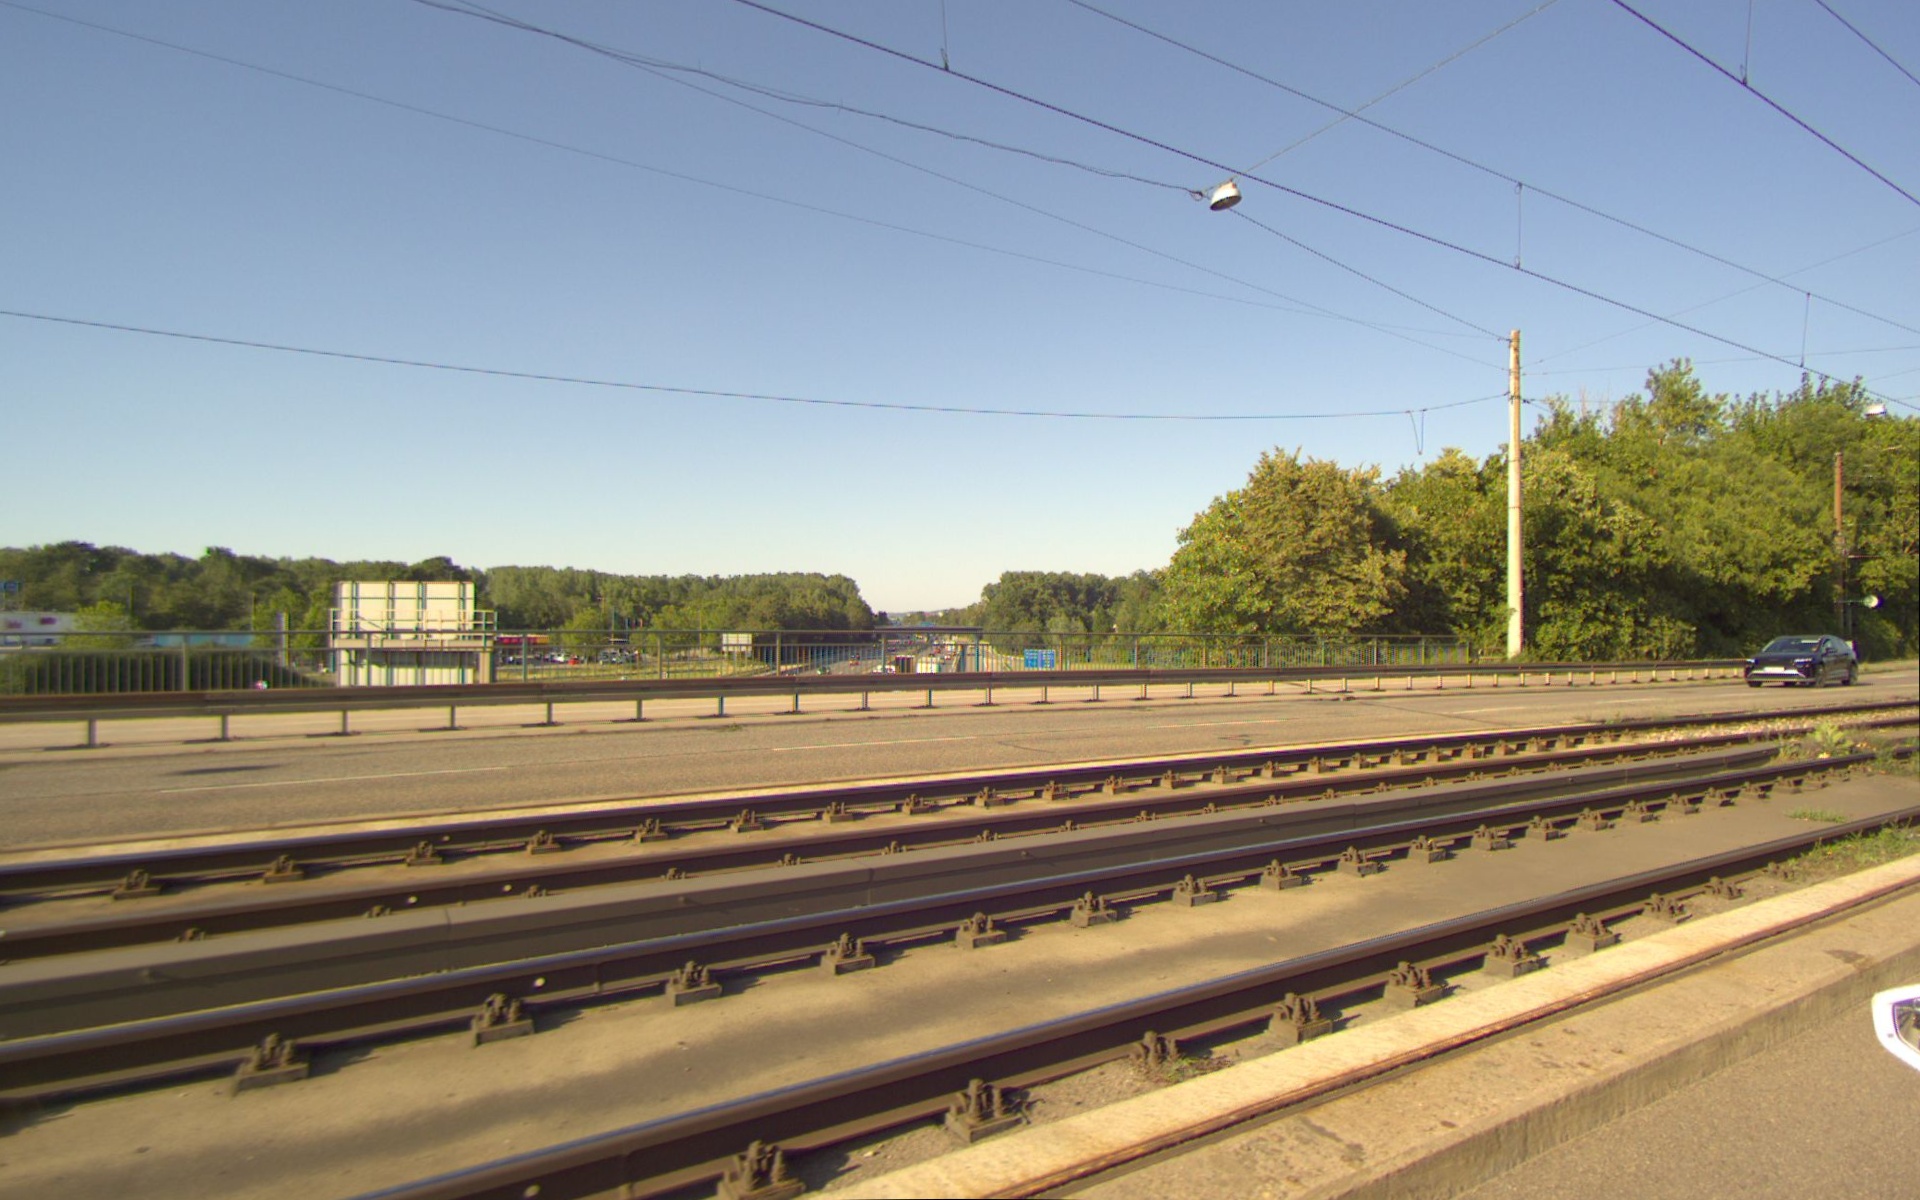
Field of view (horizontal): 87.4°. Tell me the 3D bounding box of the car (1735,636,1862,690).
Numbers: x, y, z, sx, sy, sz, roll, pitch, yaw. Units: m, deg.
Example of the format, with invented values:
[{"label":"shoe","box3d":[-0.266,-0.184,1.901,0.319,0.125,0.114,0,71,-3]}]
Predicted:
[{"label":"car","box3d":[26.543,1.948,31.768,4.748,1.601,1.700,2,-2,-32]}]
